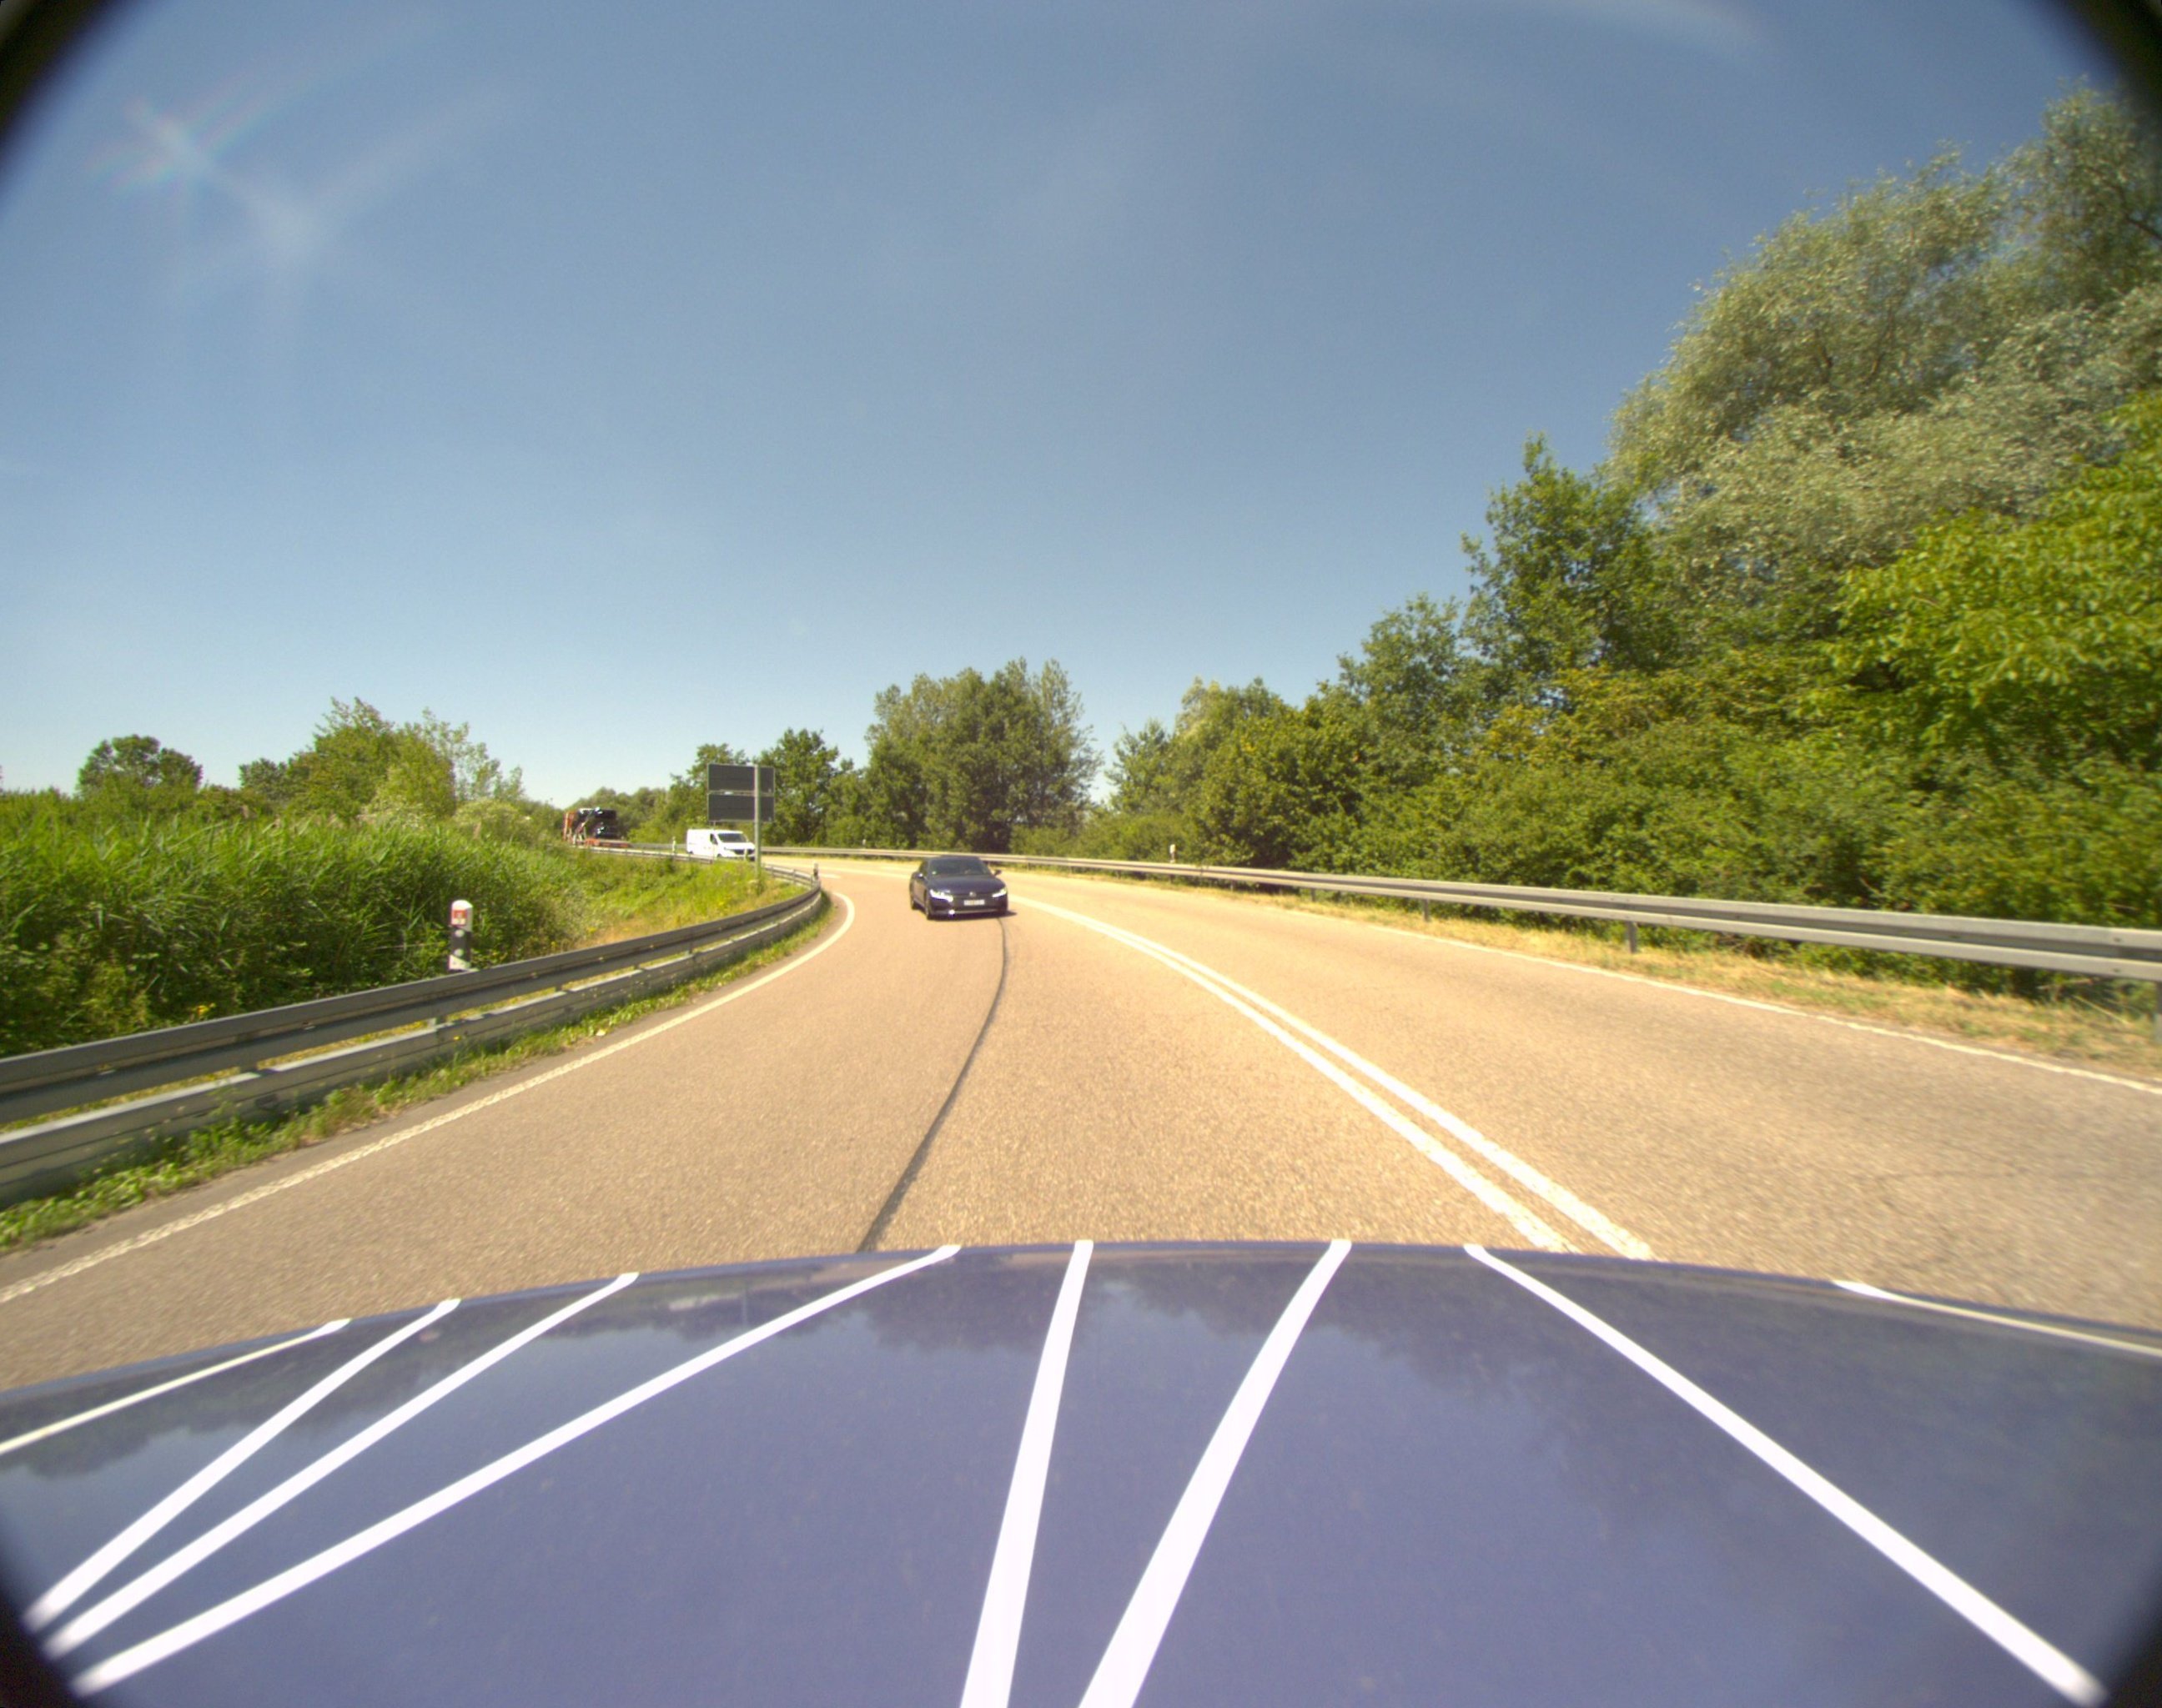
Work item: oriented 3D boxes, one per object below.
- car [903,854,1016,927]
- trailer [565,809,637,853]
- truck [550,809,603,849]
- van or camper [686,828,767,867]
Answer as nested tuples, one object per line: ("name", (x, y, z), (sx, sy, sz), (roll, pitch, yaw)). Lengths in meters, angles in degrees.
("car", (-3.163, 0.788, 18.901), (1.846, 1.422, 4.525), (-4, 2, -20))
("trailer", (-45.403, -2.298, 71.584), (2.807, 3.877, 13.941), (-3, 4, -44))
("truck", (-52.114, -2.653, 78.376), (2.804, 3.877, 8.751), (-3, 4, -45))
("van or camper", (-20.434, -0.423, 43.681), (5.431, 2.021, 2.014), (2, 5, 40))
